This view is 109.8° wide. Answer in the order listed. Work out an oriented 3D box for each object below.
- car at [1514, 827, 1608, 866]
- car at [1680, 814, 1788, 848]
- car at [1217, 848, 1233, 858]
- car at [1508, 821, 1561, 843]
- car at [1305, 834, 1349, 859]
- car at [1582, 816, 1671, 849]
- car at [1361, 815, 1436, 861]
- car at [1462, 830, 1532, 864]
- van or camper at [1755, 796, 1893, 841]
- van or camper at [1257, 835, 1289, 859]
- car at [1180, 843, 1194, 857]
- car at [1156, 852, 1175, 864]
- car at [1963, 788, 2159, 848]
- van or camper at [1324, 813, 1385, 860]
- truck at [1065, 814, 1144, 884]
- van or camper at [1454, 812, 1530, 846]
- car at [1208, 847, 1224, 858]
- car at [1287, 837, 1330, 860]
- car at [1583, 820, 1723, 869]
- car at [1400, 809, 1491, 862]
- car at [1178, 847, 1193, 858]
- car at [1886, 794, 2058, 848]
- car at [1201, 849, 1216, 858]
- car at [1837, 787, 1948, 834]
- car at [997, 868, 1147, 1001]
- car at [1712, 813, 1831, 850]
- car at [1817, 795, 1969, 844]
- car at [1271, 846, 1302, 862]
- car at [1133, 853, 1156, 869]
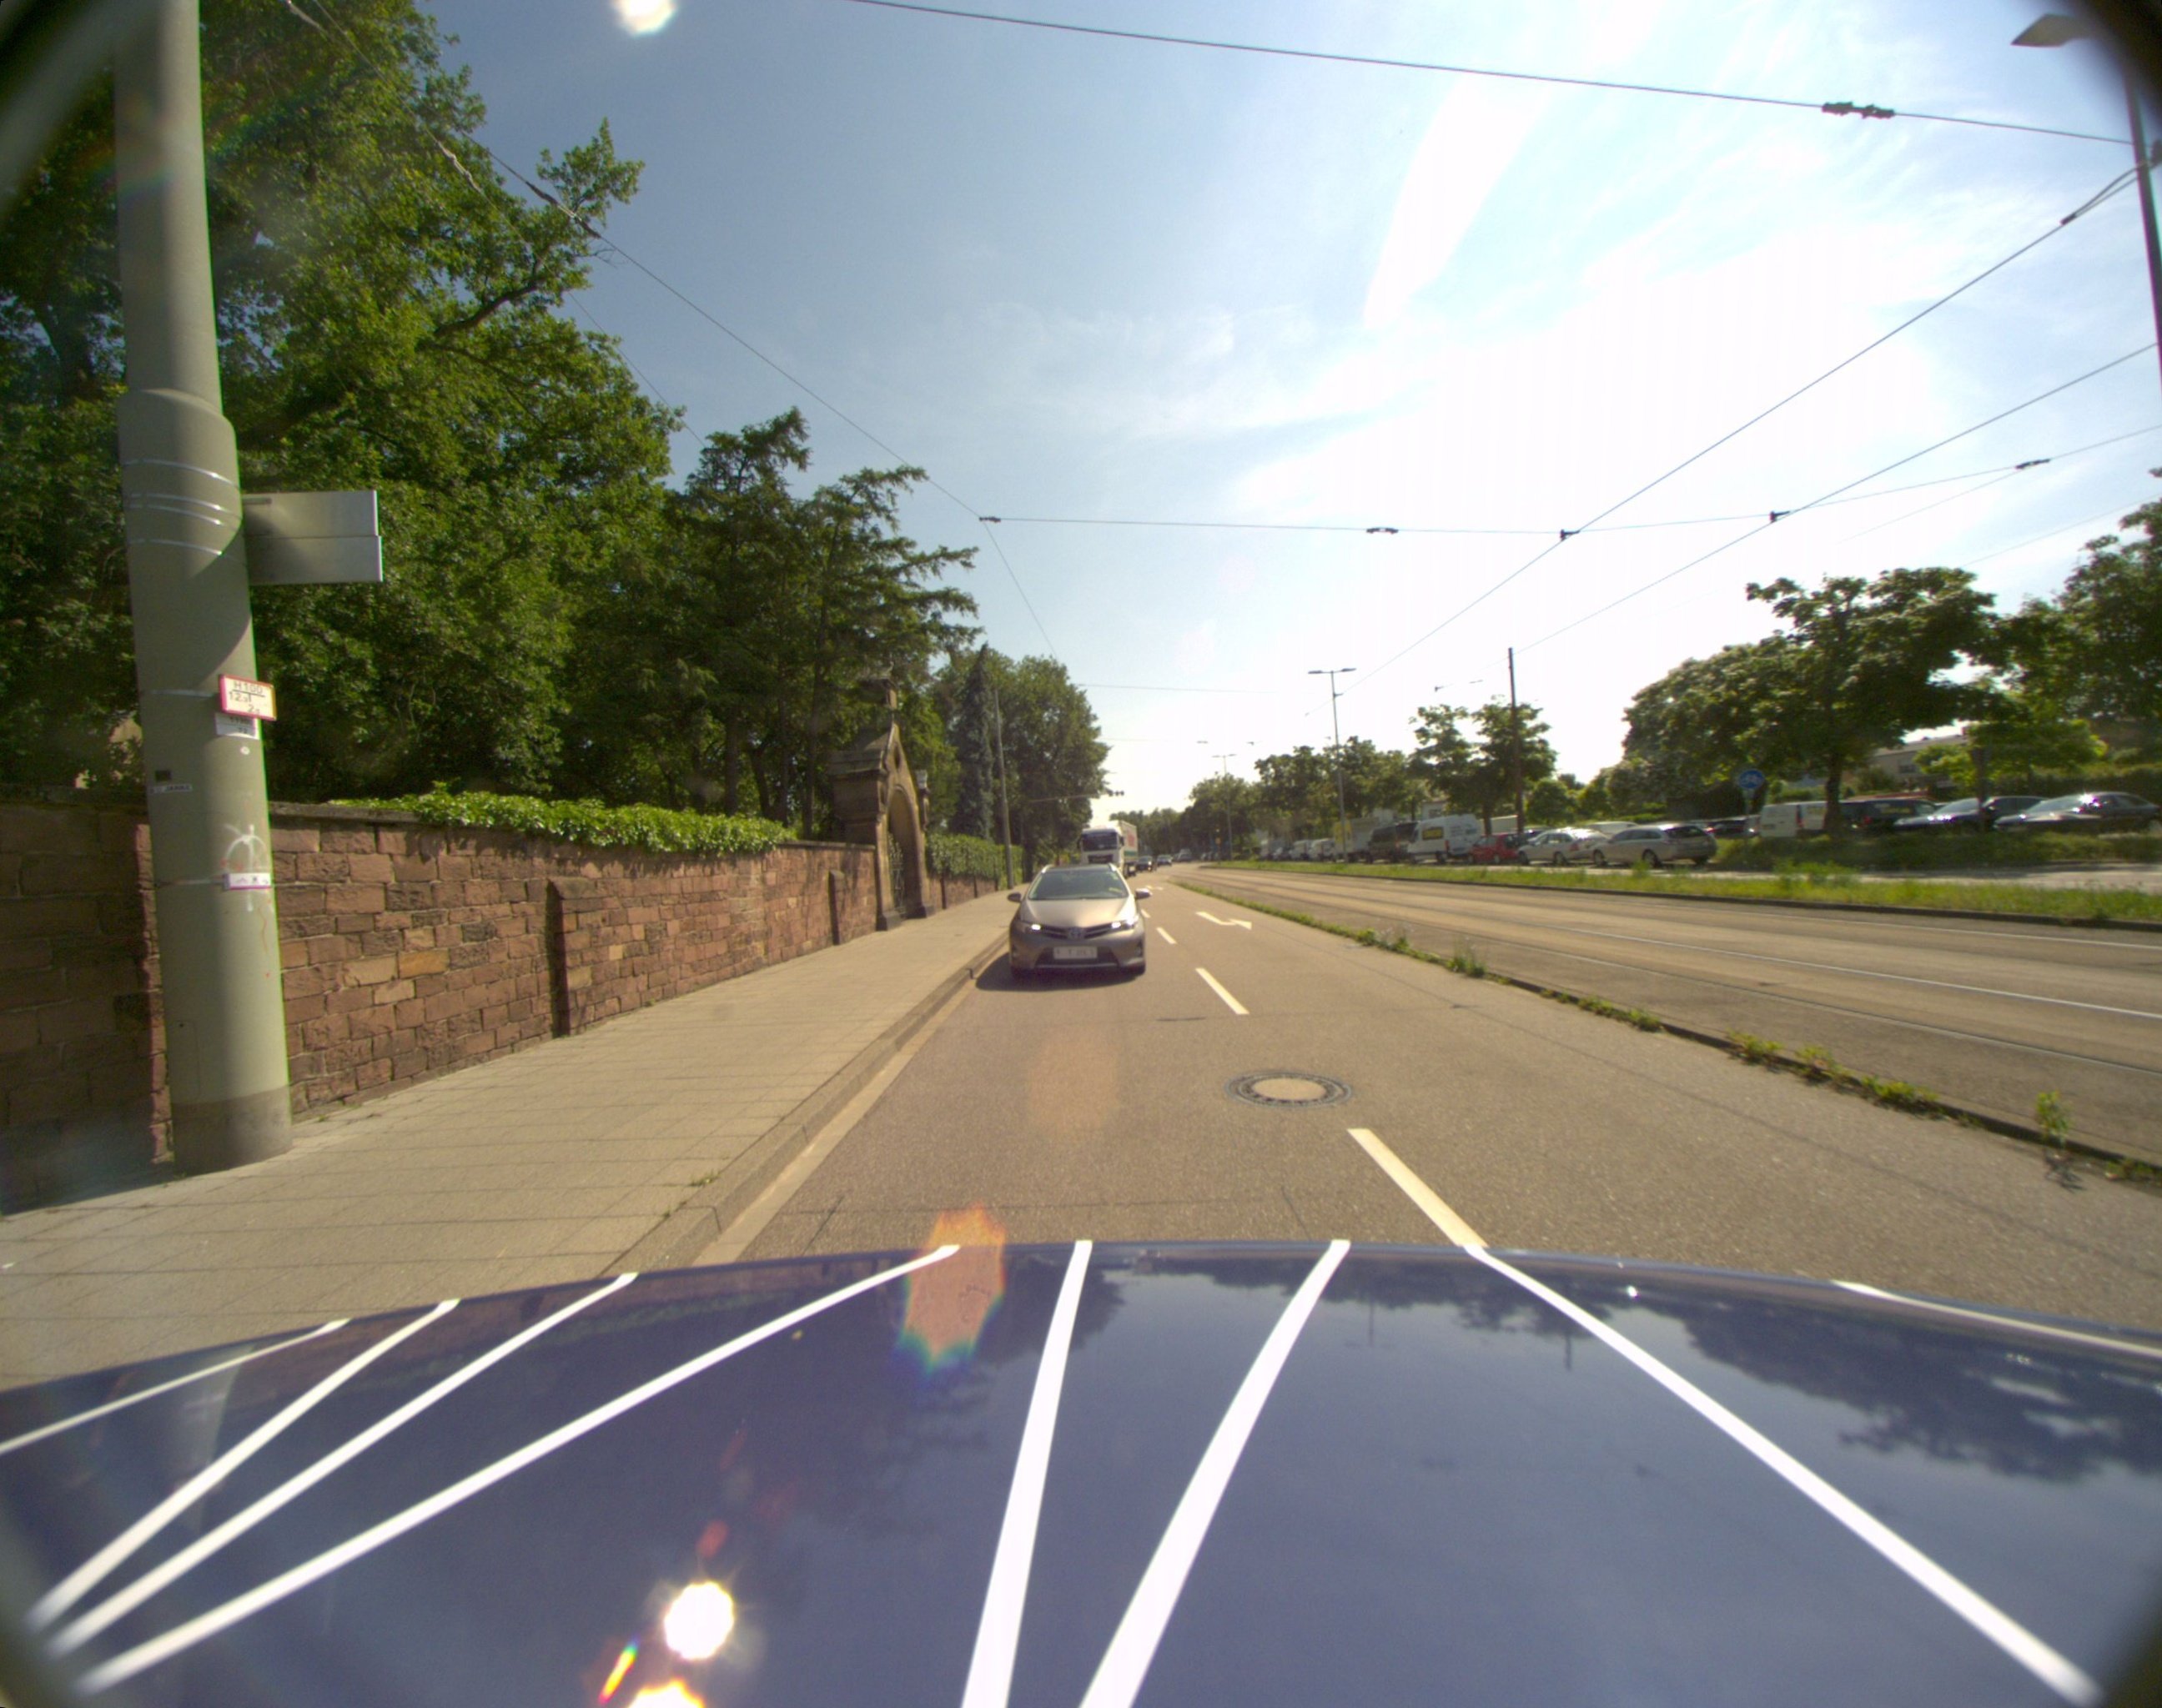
[{"bbox_3d":[20.464,-0.300,32.590,1.295,1.482,4.351,-4,0,1],"label":"car"},{"bbox_3d":[31.683,-1.103,36.900,3.998,1.363,1.489,-3,0,-2],"label":"car"},{"bbox_3d":[21.943,-0.120,115.947,1.619,1.442,4.083,-4,0,2],"label":"car"},{"bbox_3d":[44.196,-2.141,74.057,3.998,1.879,1.785,-4,0,-2],"label":"car"},{"bbox_3d":[21.600,-0.647,66.928,2.201,1.929,5.186,-6,0,2],"label":"car"},{"bbox_3d":[32.195,-1.255,44.910,3.997,1.684,1.663,-4,0,1],"label":"car"},{"bbox_3d":[20.735,-0.999,49.952,2.201,2.653,6.079,-5,0,0],"label":"car"},{"bbox_3d":[20.517,-0.328,37.623,1.295,1.481,3.676,-4,0,-1],"label":"car"},{"bbox_3d":[30.836,-1.453,31.607,3.998,1.554,1.876,-3,0,-4],"label":"van or camper"},{"bbox_3d":[21.796,-0.796,86.534,2.262,2.500,6.148,-4,0,3],"label":"van or camper"},{"bbox_3d":[22.794,-0.890,164.175,2.016,2.636,6.086,-7,0,1],"label":"car"},{"bbox_3d":[10.529,0.467,94.716,1.933,1.324,4.000,-4,0,2],"label":"car"},{"bbox_3d":[30.684,-1.093,23.866,3.997,1.554,1.663,-3,0,-1],"label":"car"},{"bbox_3d":[20.964,-1.251,58.568,2.201,3.222,6.773,-6,0,2],"label":"van or camper"},{"bbox_3d":[2.010,-0.365,53.186,3.389,4.045,14.296,-4,0,9],"label":"truck"},{"bbox_3d":[45.470,-2.723,84.165,6.968,3.225,2.582,-3,0,-1],"label":"van or camper"},{"bbox_3d":[22.276,-0.201,125.733,1.679,1.603,4.242,-4,0,-1],"label":"car"},{"bbox_3d":[21.877,-0.520,73.410,2.202,1.929,5.184,-5,0,-3],"label":"car"},{"bbox_3d":[20.387,-0.310,27.384,1.608,1.481,4.618,-6,0,3],"label":"car"},{"bbox_3d":[20.620,-0.948,43.352,2.201,2.615,5.979,-6,0,1],"label":"car"},{"bbox_3d":[17.545,-0.236,127.673,2.048,1.588,4.661,-2,0,4],"label":"car"},{"bbox_3d":[30.724,-1.100,26.279,3.997,1.554,1.663,-3,0,-1],"label":"car"},{"bbox_3d":[22.320,-0.091,133.189,1.679,1.427,4.457,-4,0,-1],"label":"car"},{"bbox_3d":[44.131,-2.360,41.365,3.998,2.187,1.910,-4,0,-2],"label":"car"},{"bbox_3d":[-0.024,0.984,10.939,1.719,1.439,4.031,-2,0,2],"label":"car"},{"bbox_3d":[30.804,-0.981,33.955,3.998,1.363,1.489,-3,0,-3],"label":"car"},{"bbox_3d":[30.893,-1.278,28.979,3.997,1.554,1.663,-3,0,-1],"label":"car"},{"bbox_3d":[21.526,0.003,79.845,1.937,1.446,4.886,-5,0,1],"label":"car"},{"bbox_3d":[5.993,0.646,72.296,1.759,1.455,4.000,-4,0,0],"label":"car"}]
